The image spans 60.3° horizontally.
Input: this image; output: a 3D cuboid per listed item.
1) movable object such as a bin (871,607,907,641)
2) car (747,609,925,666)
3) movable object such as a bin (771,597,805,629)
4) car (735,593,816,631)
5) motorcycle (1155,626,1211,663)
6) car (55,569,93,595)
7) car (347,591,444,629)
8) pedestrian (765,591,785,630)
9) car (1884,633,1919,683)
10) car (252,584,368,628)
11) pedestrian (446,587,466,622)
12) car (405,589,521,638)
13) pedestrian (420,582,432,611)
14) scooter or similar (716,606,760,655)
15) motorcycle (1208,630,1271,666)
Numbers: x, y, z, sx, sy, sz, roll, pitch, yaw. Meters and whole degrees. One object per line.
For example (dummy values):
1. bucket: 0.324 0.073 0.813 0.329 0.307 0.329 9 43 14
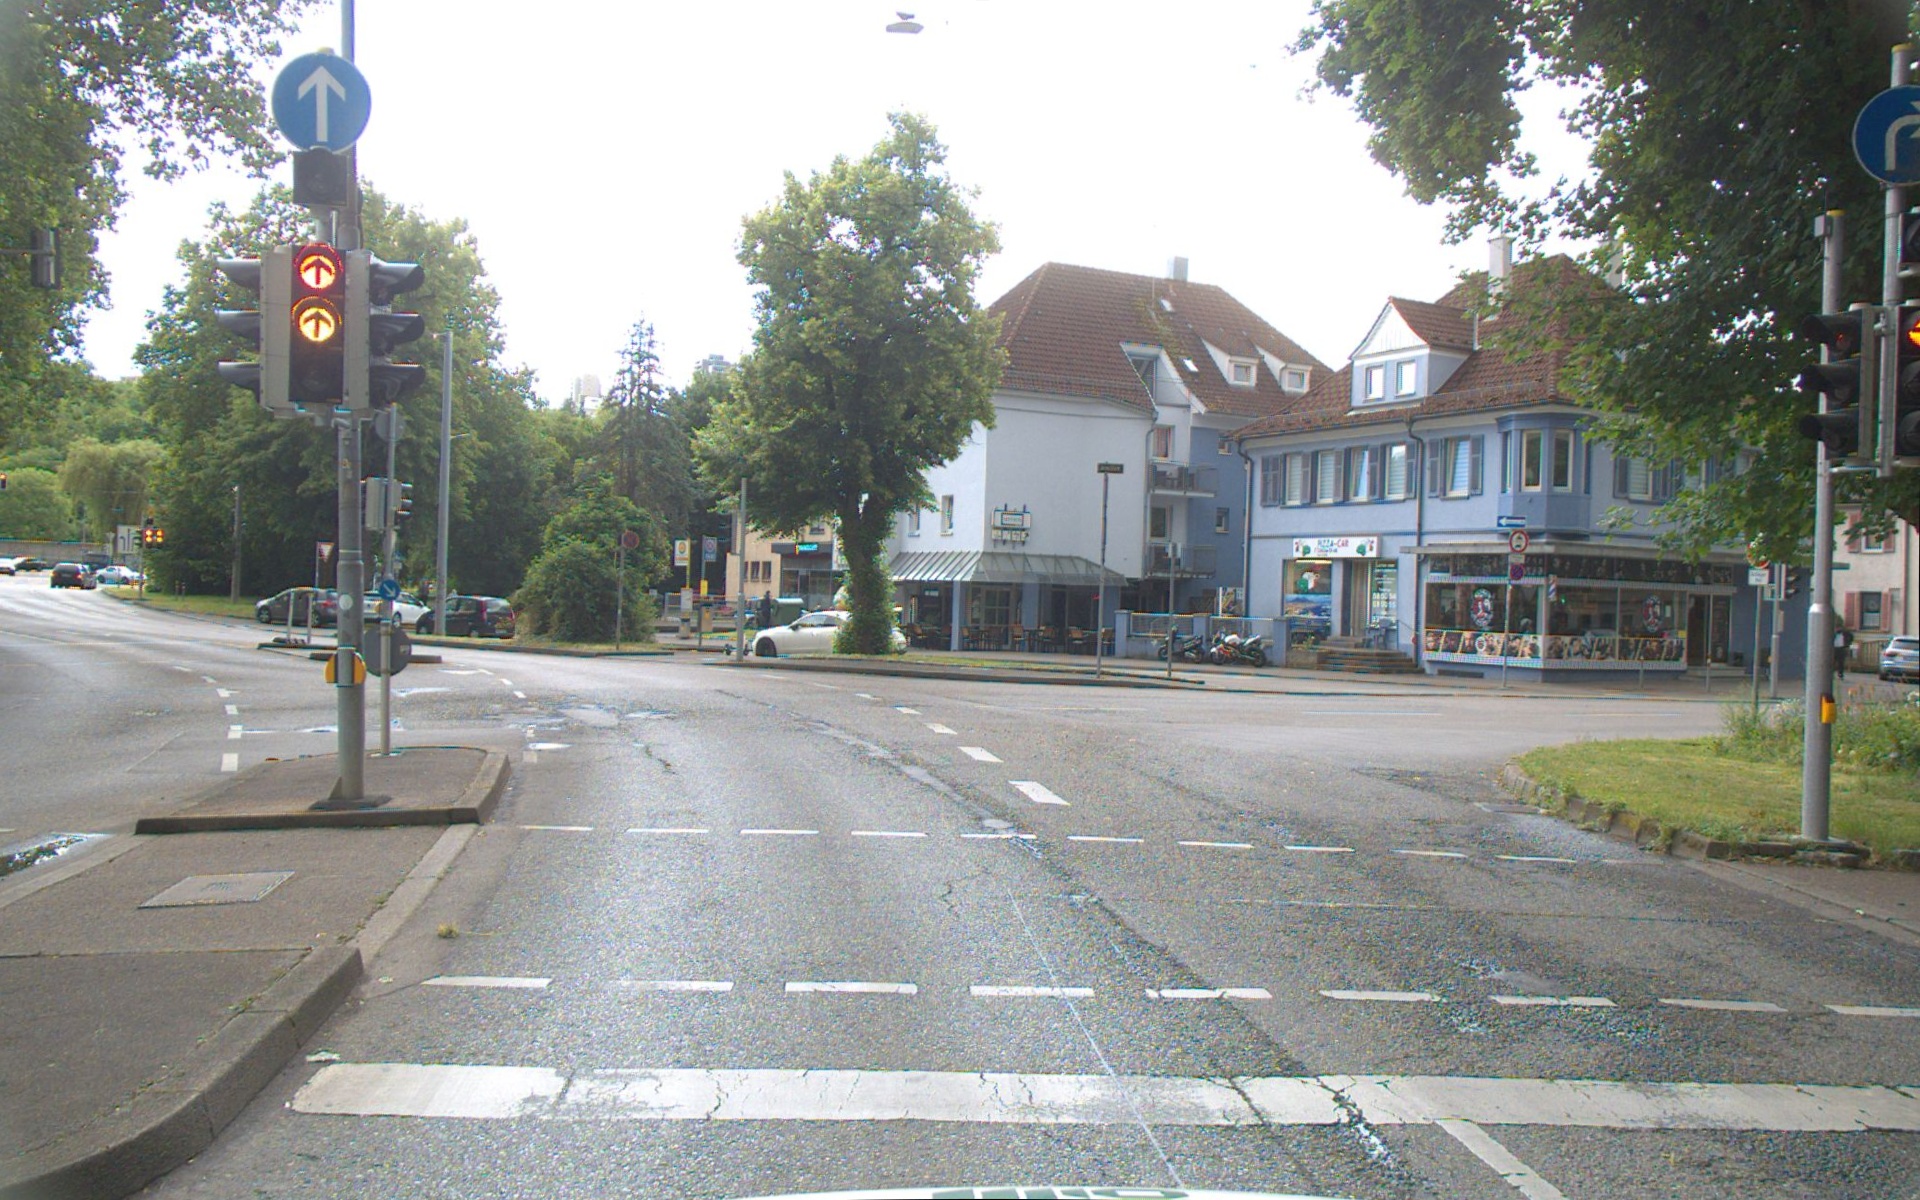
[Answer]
1. movable object such as a bin: -3.014 1.010 70.475 1.197 1.419 1.153 1 0 -22
2. car: -3.447 1.011 45.714 4.689 1.411 1.994 1 0 34
3. movable object such as a bin: -7.693 0.577 73.815 1.204 1.368 0.984 1 -1 -32
4. car: -8.438 0.565 75.632 3.371 1.659 1.611 1 0 -26
5. motorcycle: 6.753 1.341 50.133 1.695 1.049 0.487 1 0 42
6. car: -53.445 -1.085 99.732 1.804 1.536 4.527 1 0 -31
7. car: -22.661 0.411 66.588 1.721 1.405 4.265 2 0 11
8. pedestrian: -8.325 0.475 74.487 0.680 1.760 0.605 1 -1 -32
9. car: 29.737 1.804 51.613 1.537 1.488 3.433 2 0 29
10. car: -25.106 0.224 63.921 4.016 1.454 1.733 3 0 21
11. pedestrian: -23.086 0.191 75.790 0.677 1.578 0.734 2 0 -32
12. car: -16.036 0.436 53.369 3.416 1.428 1.571 2 0 28
13. pedestrian: -29.402 -0.179 91.038 0.503 1.558 0.772 2 -1 -23
14. scooter or similar: -5.703 0.790 42.625 0.403 1.187 1.361 1 -3 25
15. motorcycle: 8.180 1.395 48.445 1.791 1.003 0.518 1 -1 43
